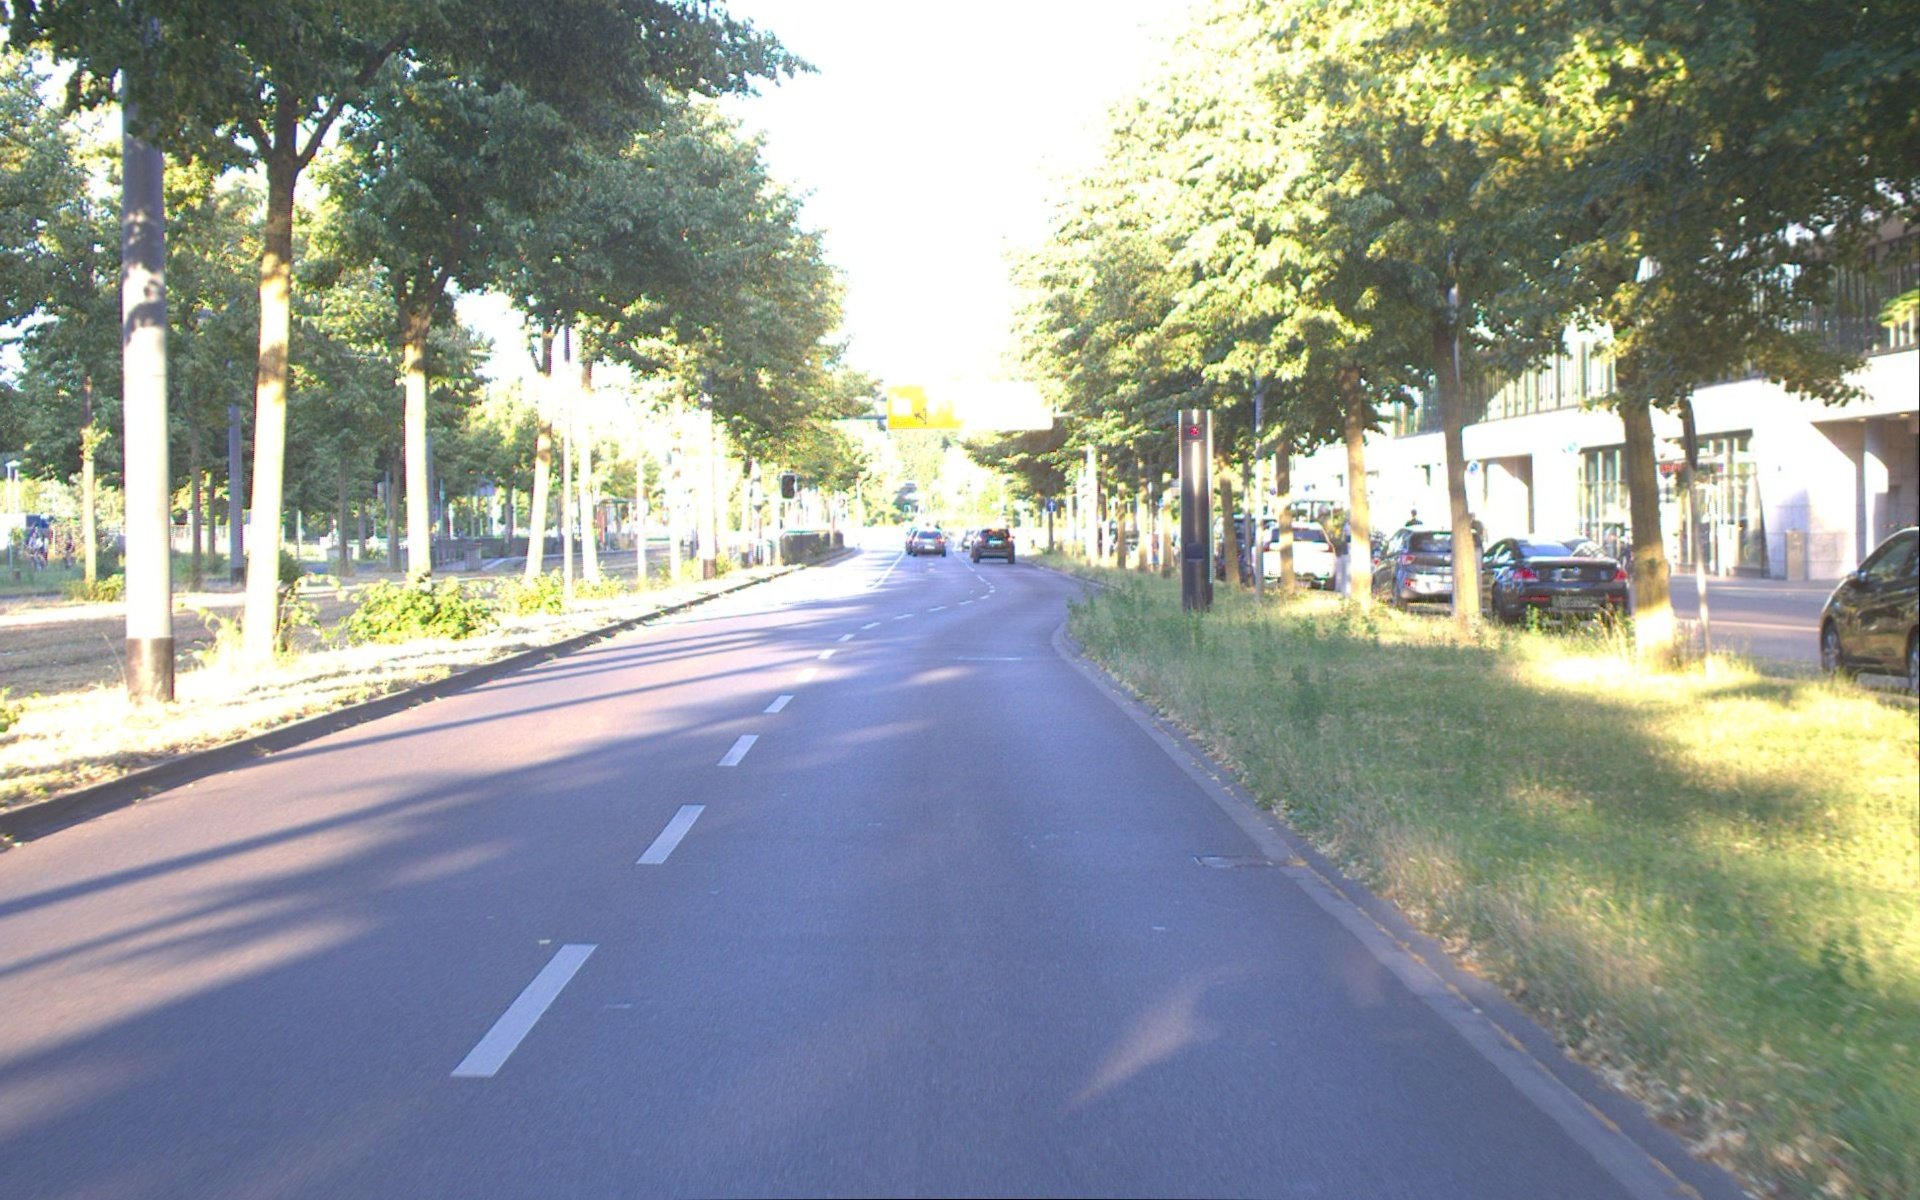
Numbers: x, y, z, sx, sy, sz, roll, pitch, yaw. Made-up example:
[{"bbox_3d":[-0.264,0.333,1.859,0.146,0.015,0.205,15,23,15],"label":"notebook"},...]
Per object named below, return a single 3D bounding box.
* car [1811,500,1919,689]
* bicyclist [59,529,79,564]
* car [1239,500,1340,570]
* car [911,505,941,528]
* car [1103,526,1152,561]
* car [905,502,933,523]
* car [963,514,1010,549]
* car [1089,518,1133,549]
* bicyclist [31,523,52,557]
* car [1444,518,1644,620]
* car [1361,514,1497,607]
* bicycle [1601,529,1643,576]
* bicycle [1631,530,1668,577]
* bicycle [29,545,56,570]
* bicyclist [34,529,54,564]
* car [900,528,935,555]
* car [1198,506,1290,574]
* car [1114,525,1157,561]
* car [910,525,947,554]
[{"bbox_3d":[8.470,-0.038,28.425,1.780,1.489,4.000,3,2,0],"label":"car"},{"bbox_3d":[-37.401,-2.242,144.325,0.619,1.451,0.937,-1,1,-2],"label":"bicyclist"},{"bbox_3d":[8.022,-1.593,84.084,1.993,1.637,4.878,-1,1,0],"label":"car"},{"bbox_3d":[-2.279,-5.594,230.115,1.911,1.481,4.000,0,1,-1],"label":"car"},{"bbox_3d":[7.258,-2.469,149.350,1.777,1.467,4.289,0,1,-2],"label":"car"},{"bbox_3d":[-2.922,-6.216,244.706,1.911,1.481,4.000,0,1,-1],"label":"car"},{"bbox_3d":[1.138,-3.004,150.285,1.911,1.481,4.000,0,1,-1],"label":"car"},{"bbox_3d":[7.214,-3.172,164.557,1.756,1.461,4.159,0,1,-3],"label":"car"},{"bbox_3d":[-37.815,-2.476,141.594,0.619,1.416,0.937,-1,1,-2],"label":"bicyclist"},{"bbox_3d":[8.325,-0.484,49.439,1.852,1.362,4.835,-1,1,-2],"label":"car"},{"bbox_3d":[8.070,-0.707,59.415,1.709,1.510,3.759,2,1,-2],"label":"car"},{"bbox_3d":[14.902,-1.065,77.397,0.594,1.035,1.892,-1,1,0],"label":"bicycle"},{"bbox_3d":[15.470,-1.048,77.125,0.470,1.035,1.807,-1,1,0],"label":"bicycle"},{"bbox_3d":[-38.410,-1.785,143.962,0.619,1.008,2.083,-1,1,-2],"label":"bicycle"},{"bbox_3d":[-38.410,-2.238,144.161,0.619,1.451,0.937,-1,1,-2],"label":"bicyclist"},{"bbox_3d":[-2.364,-3.296,192.465,1.911,1.481,4.000,0,1,-1],"label":"car"},{"bbox_3d":[7.975,-1.692,96.848,1.993,1.845,4.666,-1,1,-2],"label":"car"},{"bbox_3d":[7.274,-2.356,142.499,1.575,1.467,3.881,0,1,0],"label":"car"},{"bbox_3d":[-1.675,-3.184,181.150,1.911,1.481,4.000,0,1,-1],"label":"car"}]
